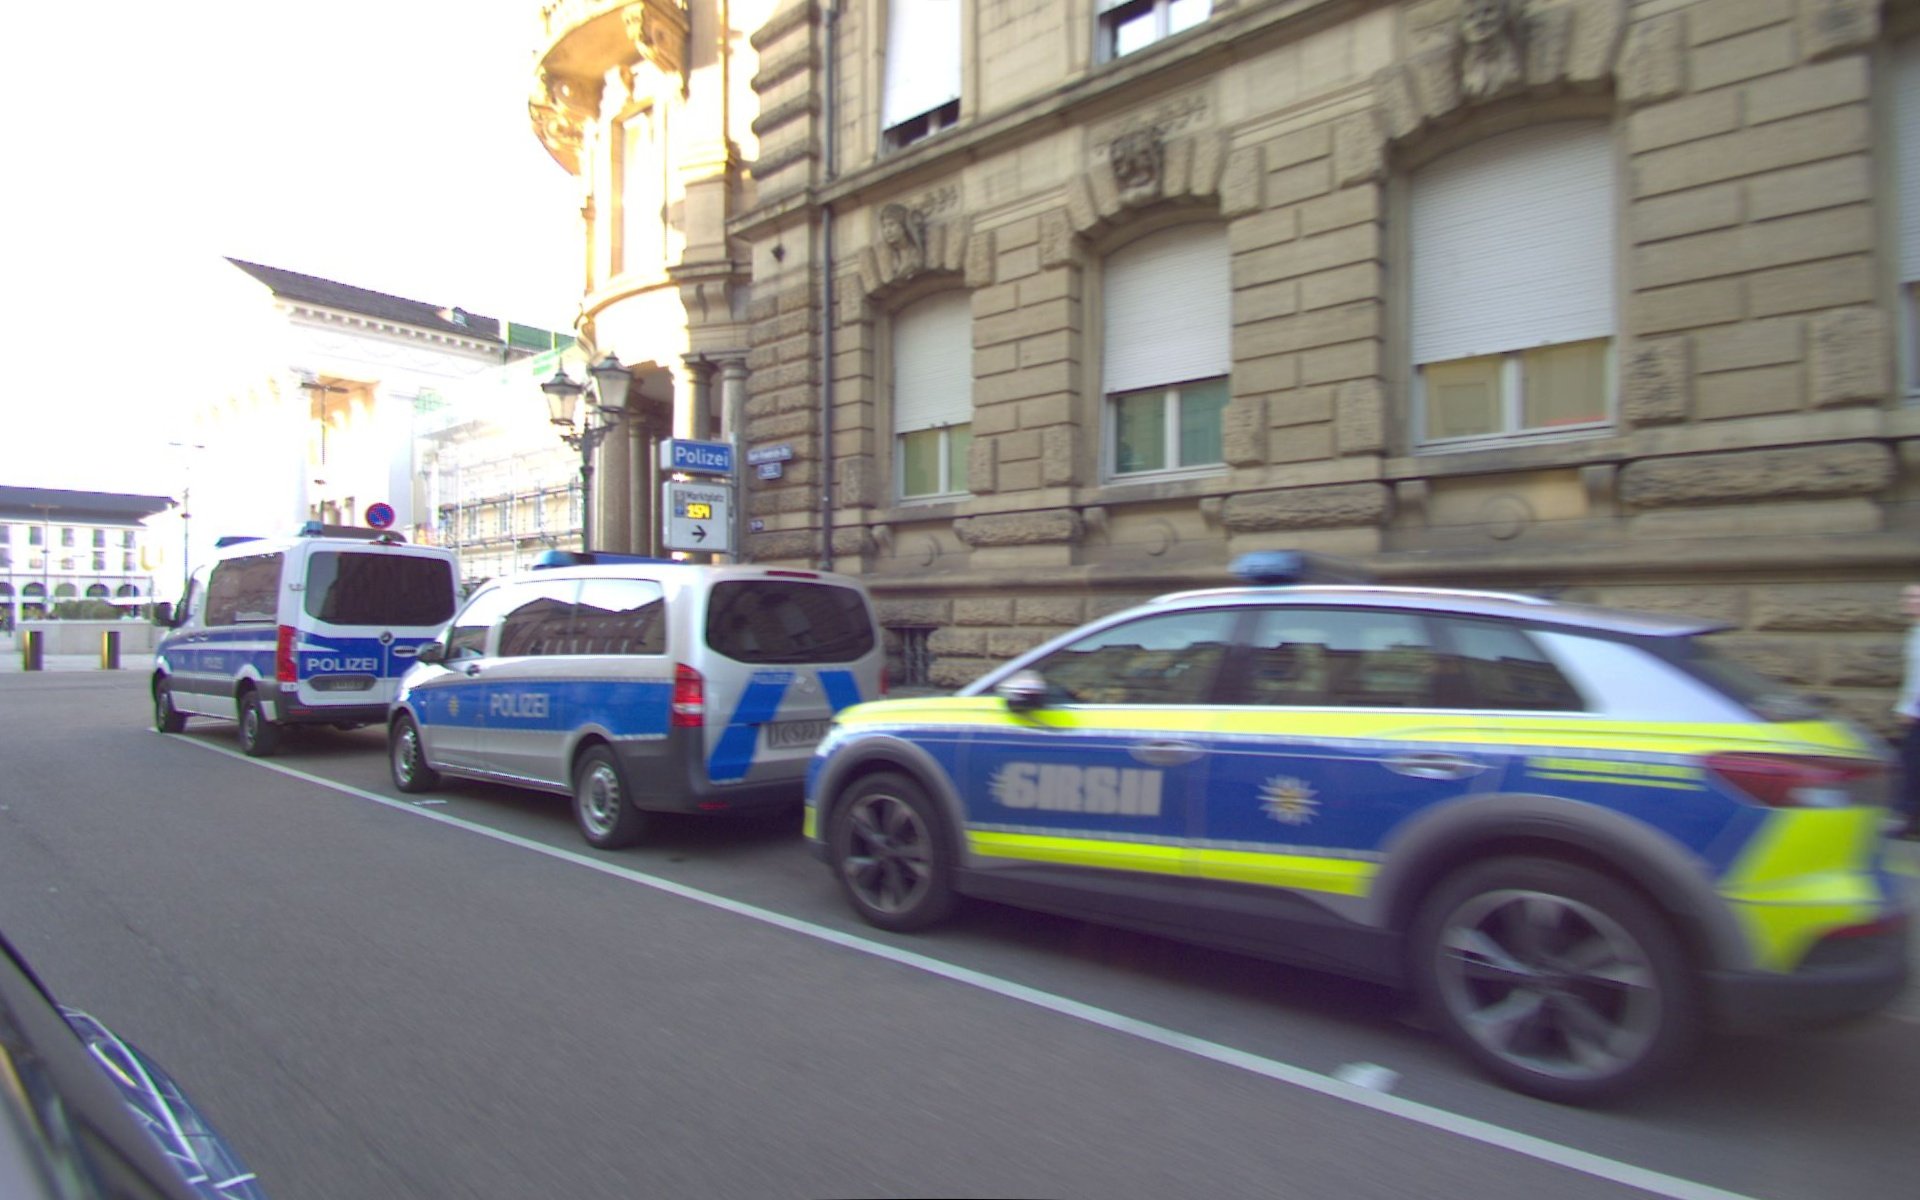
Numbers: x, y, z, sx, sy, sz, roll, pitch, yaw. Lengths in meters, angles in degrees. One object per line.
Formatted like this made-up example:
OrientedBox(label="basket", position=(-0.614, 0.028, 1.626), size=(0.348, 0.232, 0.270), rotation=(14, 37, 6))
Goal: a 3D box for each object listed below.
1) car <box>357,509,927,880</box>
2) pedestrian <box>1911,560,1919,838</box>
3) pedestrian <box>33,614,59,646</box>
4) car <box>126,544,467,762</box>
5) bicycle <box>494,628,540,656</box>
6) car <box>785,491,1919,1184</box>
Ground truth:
OrientedBox(label="car", position=(-2.845, 0.580, 8.222), size=(5.204, 2.103, 1.973), rotation=(-1, -2, 41))
OrientedBox(label="pedestrian", position=(6.285, 0.627, 6.133), size=(0.702, 1.743, 0.601), rotation=(-1, -2, 42))
OrientedBox(label="pedestrian", position=(-55.226, 1.806, 61.139), size=(0.881, 1.926, 1.077), rotation=(-1, -2, 43))
OrientedBox(label="car", position=(-8.378, 0.580, 12.577), size=(5.199, 2.188, 1.974), rotation=(-1, -2, 38))
OrientedBox(label="bicycle", position=(-18.250, 1.734, 41.662), size=(1.840, 1.120, 0.630), rotation=(-1, -1, 22))
OrientedBox(label="car", position=(1.717, 0.638, 4.359), size=(4.980, 1.765, 1.976), rotation=(-1, -2, 36))
